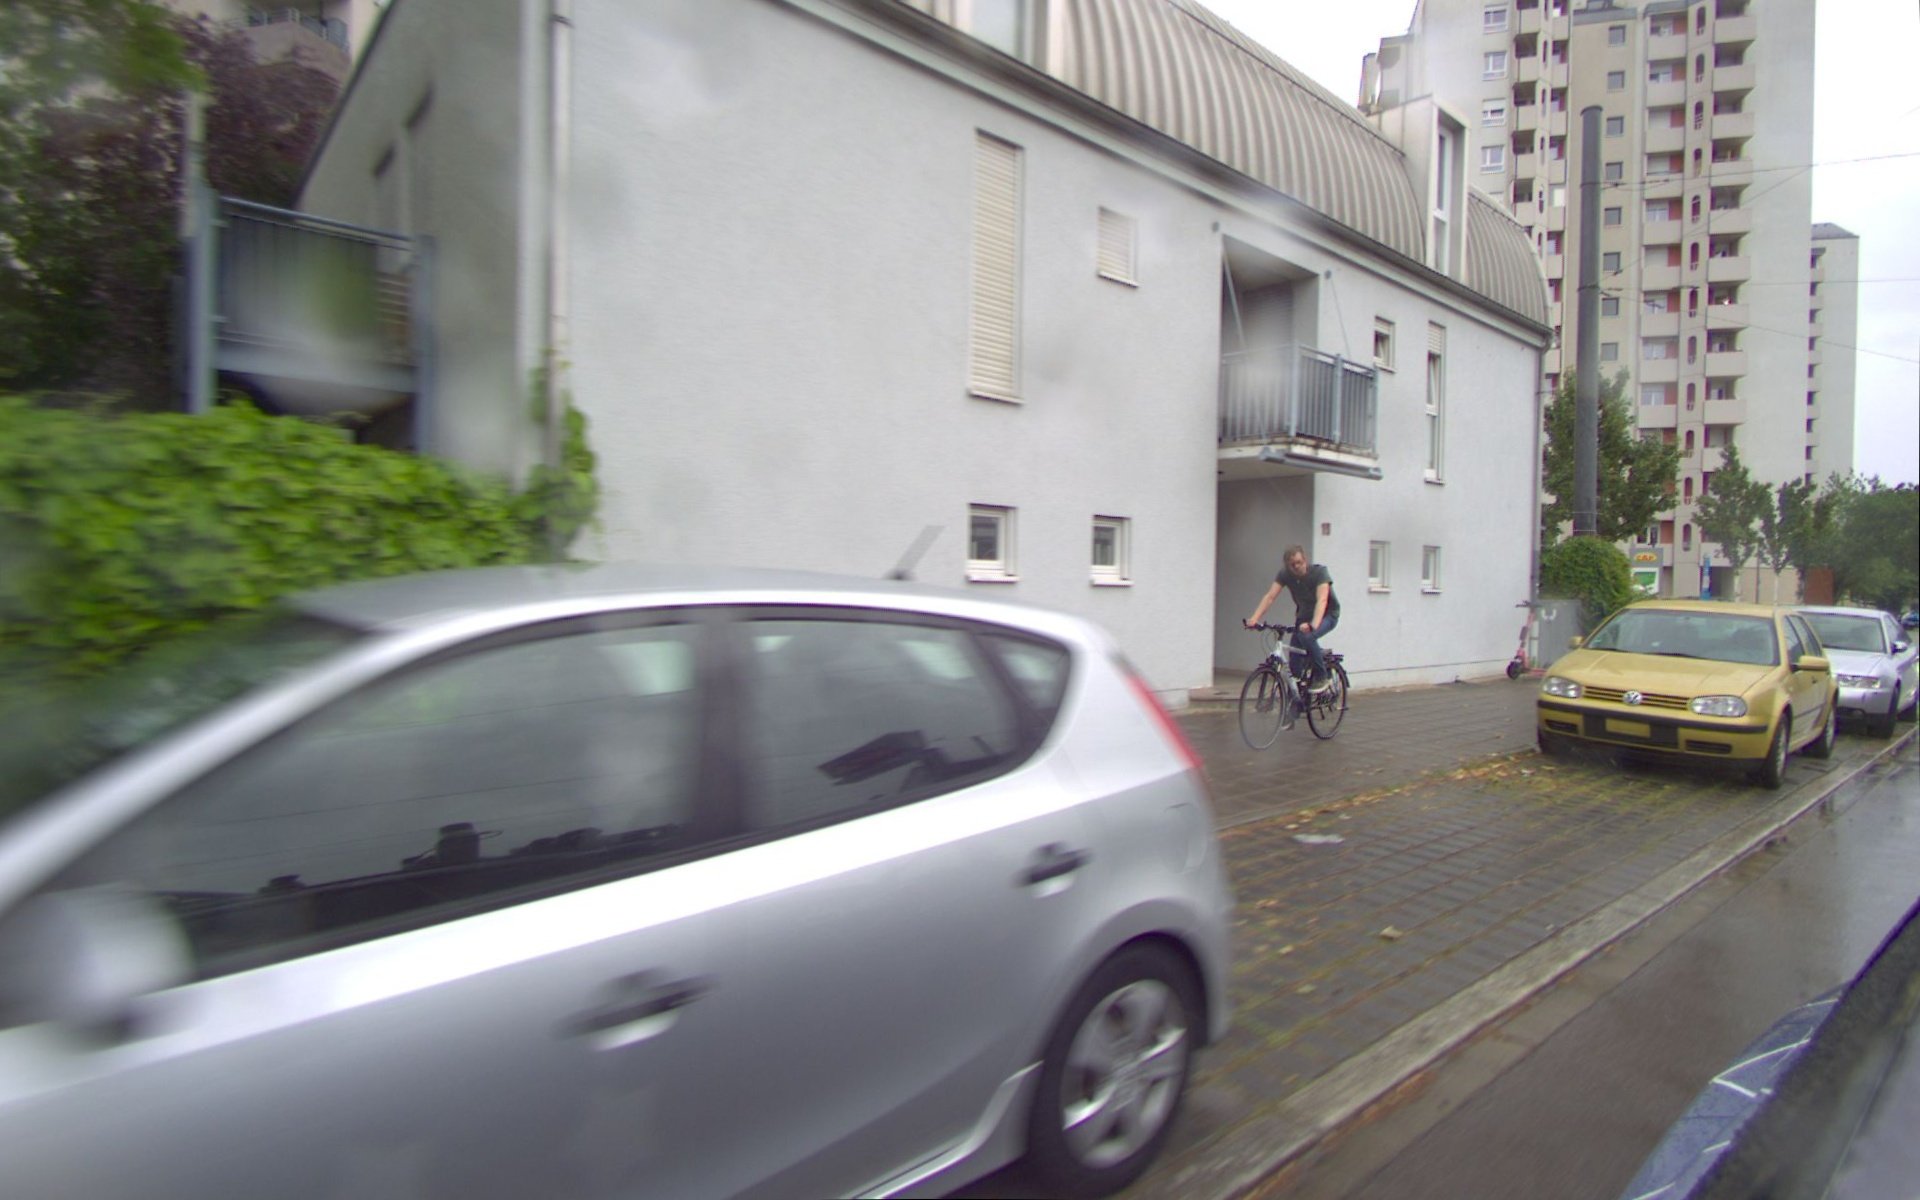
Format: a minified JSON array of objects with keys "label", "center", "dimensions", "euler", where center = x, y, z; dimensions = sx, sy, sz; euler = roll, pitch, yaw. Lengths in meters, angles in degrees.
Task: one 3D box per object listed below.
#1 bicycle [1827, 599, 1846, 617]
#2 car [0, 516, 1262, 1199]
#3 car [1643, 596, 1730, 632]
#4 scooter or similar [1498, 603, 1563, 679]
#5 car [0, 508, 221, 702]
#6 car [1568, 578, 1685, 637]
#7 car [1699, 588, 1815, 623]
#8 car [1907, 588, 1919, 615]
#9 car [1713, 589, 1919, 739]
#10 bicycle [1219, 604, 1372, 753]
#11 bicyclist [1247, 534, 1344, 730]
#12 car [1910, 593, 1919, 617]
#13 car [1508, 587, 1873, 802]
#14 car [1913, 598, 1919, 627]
[{"label":"bicycle","center":[53.359,0.474,61.596],"dimensions":[2.023,1.018,0.662],"euler":[-1,1,-43]},{"label":"car","center":[-1.214,0.605,2.196],"dimensions":[3.728,1.485,1.811],"euler":[-1,5,-41]},{"label":"car","center":[31.139,0.561,43.484],"dimensions":[1.975,1.459,3.975],"euler":[0,1,19]},{"label":"scooter or similar","center":[8.813,0.612,15.608],"dimensions":[1.369,1.098,0.334],"euler":[-1,0,-36]},{"label":"car","center":[-9.938,0.045,9.961],"dimensions":[4.174,1.816,1.997],"euler":[-1,1,-40]},{"label":"car","center":[22.197,0.262,33.628],"dimensions":[4.809,1.807,1.967],"euler":[1,-1,-40]},{"label":"car","center":[39.294,0.270,50.007],"dimensions":[4.057,1.637,1.804],"euler":[0,-1,18]},{"label":"car","center":[59.853,0.221,60.663],"dimensions":[4.115,1.567,1.762],"euler":[4,1,8]},{"label":"car","center":[11.068,0.643,12.631],"dimensions":[4.568,1.422,1.654],"euler":[-1,5,-41]},{"label":"bicycle","center":[2.915,0.607,8.670],"dimensions":[0.536,1.107,1.919],"euler":[0,1,41]},{"label":"bicyclist","center":[2.861,0.249,8.611],"dimensions":[0.533,1.579,0.761],"euler":[0,0,41]},{"label":"car","center":[70.047,0.494,71.124],"dimensions":[4.389,1.692,1.808],"euler":[4,1,9]},{"label":"car","center":[6.739,0.663,9.211],"dimensions":[3.728,1.422,1.811],"euler":[-1,5,-41]},{"label":"car","center":[53.335,0.720,54.400],"dimensions":[2.522,1.567,1.600],"euler":[1,1,8]}]
